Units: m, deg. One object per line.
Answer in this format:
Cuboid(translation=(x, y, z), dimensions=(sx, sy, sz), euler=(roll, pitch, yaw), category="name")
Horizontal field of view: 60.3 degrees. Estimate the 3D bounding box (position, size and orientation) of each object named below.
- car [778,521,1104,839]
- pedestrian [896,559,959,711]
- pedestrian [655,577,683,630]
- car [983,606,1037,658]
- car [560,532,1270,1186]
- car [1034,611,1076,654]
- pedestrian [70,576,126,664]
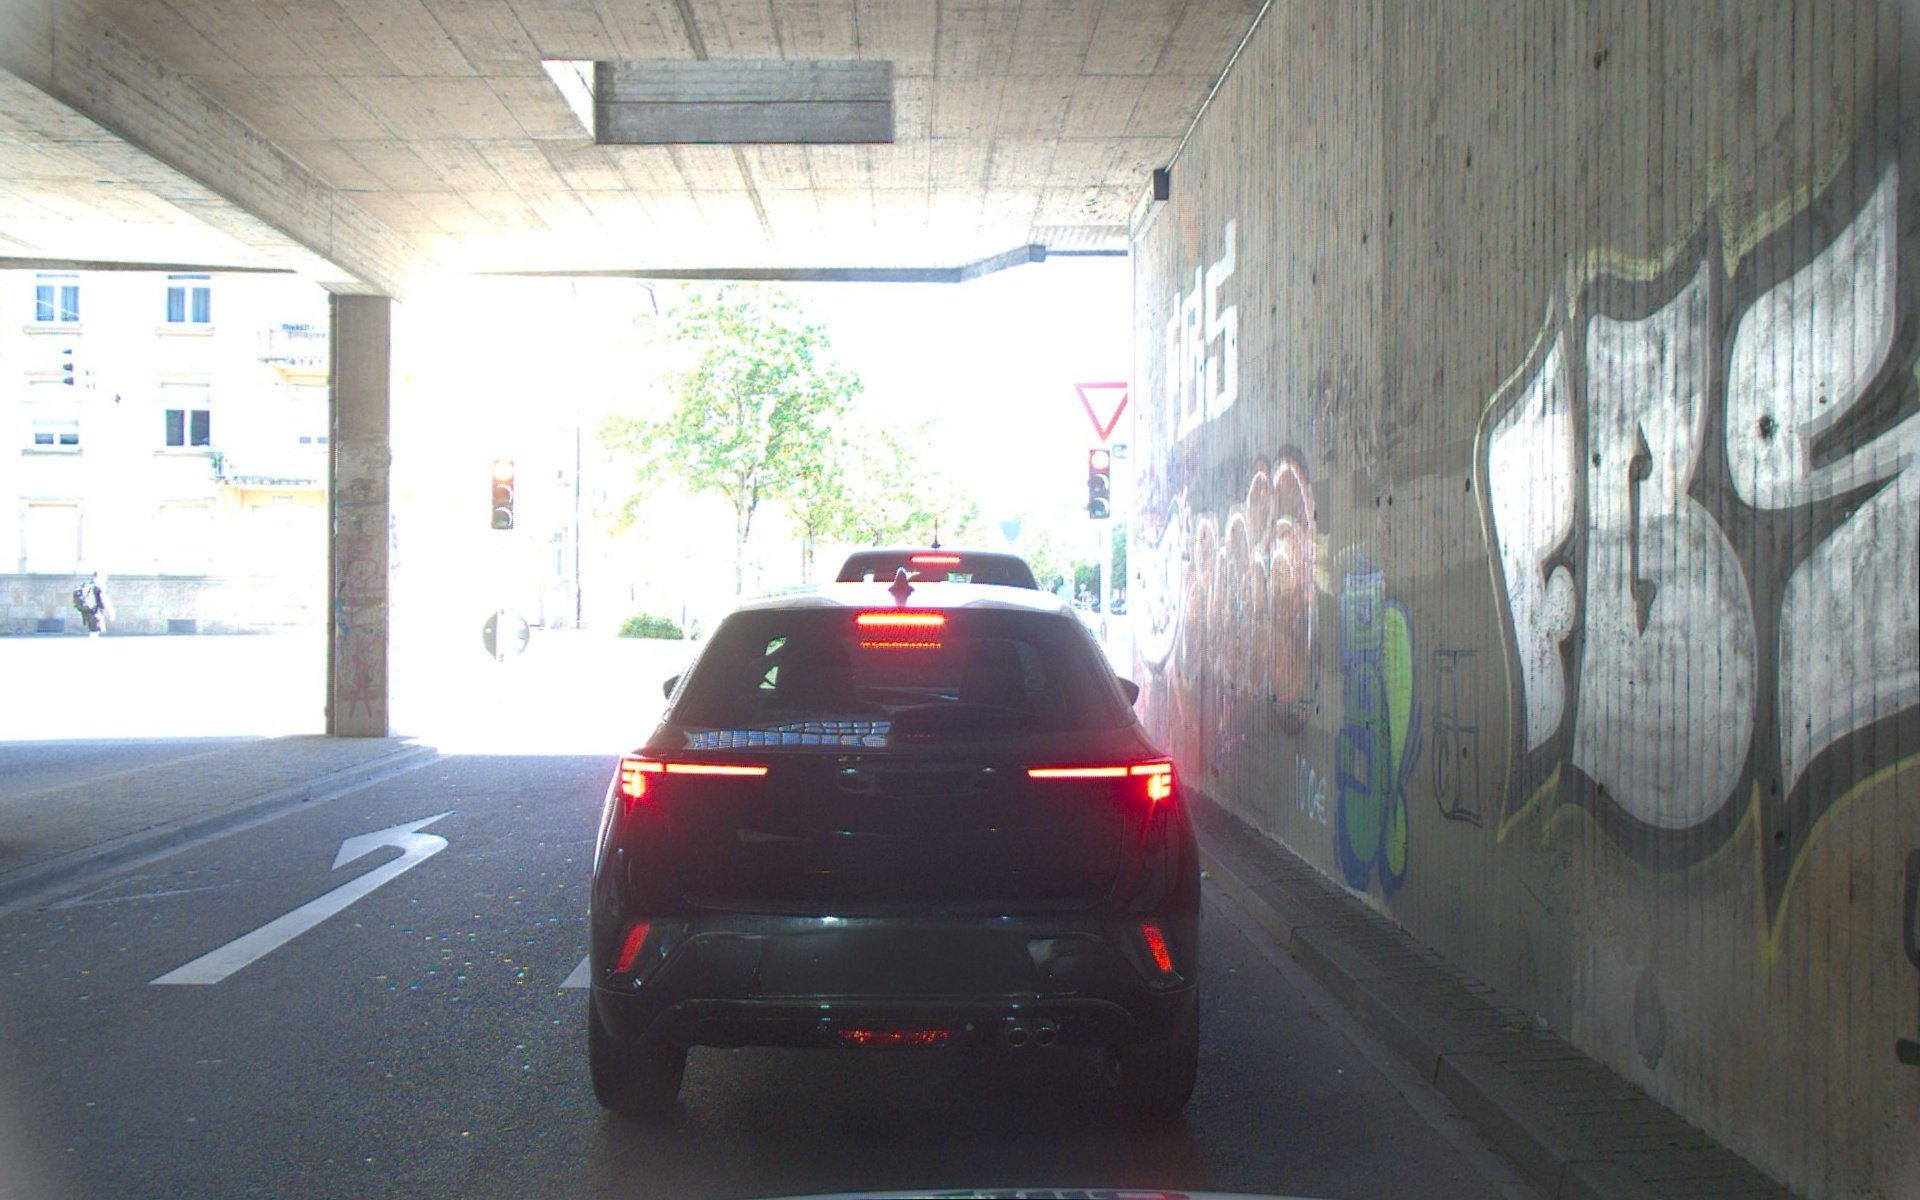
Cuboid(translation=(-0.142, 0.467, 11.965), dimensions=(1.953, 1.904, 3.999), euler=(0, 0, -1), category="car")
Cuboid(translation=(-0.387, 0.408, 19.784), dimensions=(0.716, 1.764, 0.874), euler=(1, -1, -1), category="pedestrian")
Cuboid(translation=(-11.810, 0.137, 67.172), dimensions=(0.873, 2.124, 0.808), euler=(1, -1, 7), category="pedestrian")
Cuboid(translation=(2.058, 1.275, 67.159), dimensions=(1.951, 2.004, 4.166), euler=(1, 0, 4), category="car")
Cuboid(translation=(-0.137, 0.600, 6.088), dimensions=(1.729, 1.598, 4.000), euler=(1, 1, -1), category="car")
Cuboid(translation=(4.640, 1.571, 80.419), dimensions=(1.951, 2.004, 4.166), euler=(1, 0, 4), category="car")
Cuboid(translation=(-16.590, 0.376, 31.842), dimensions=(0.658, 1.666, 0.740), euler=(1, -1, -1), category="pedestrian")
